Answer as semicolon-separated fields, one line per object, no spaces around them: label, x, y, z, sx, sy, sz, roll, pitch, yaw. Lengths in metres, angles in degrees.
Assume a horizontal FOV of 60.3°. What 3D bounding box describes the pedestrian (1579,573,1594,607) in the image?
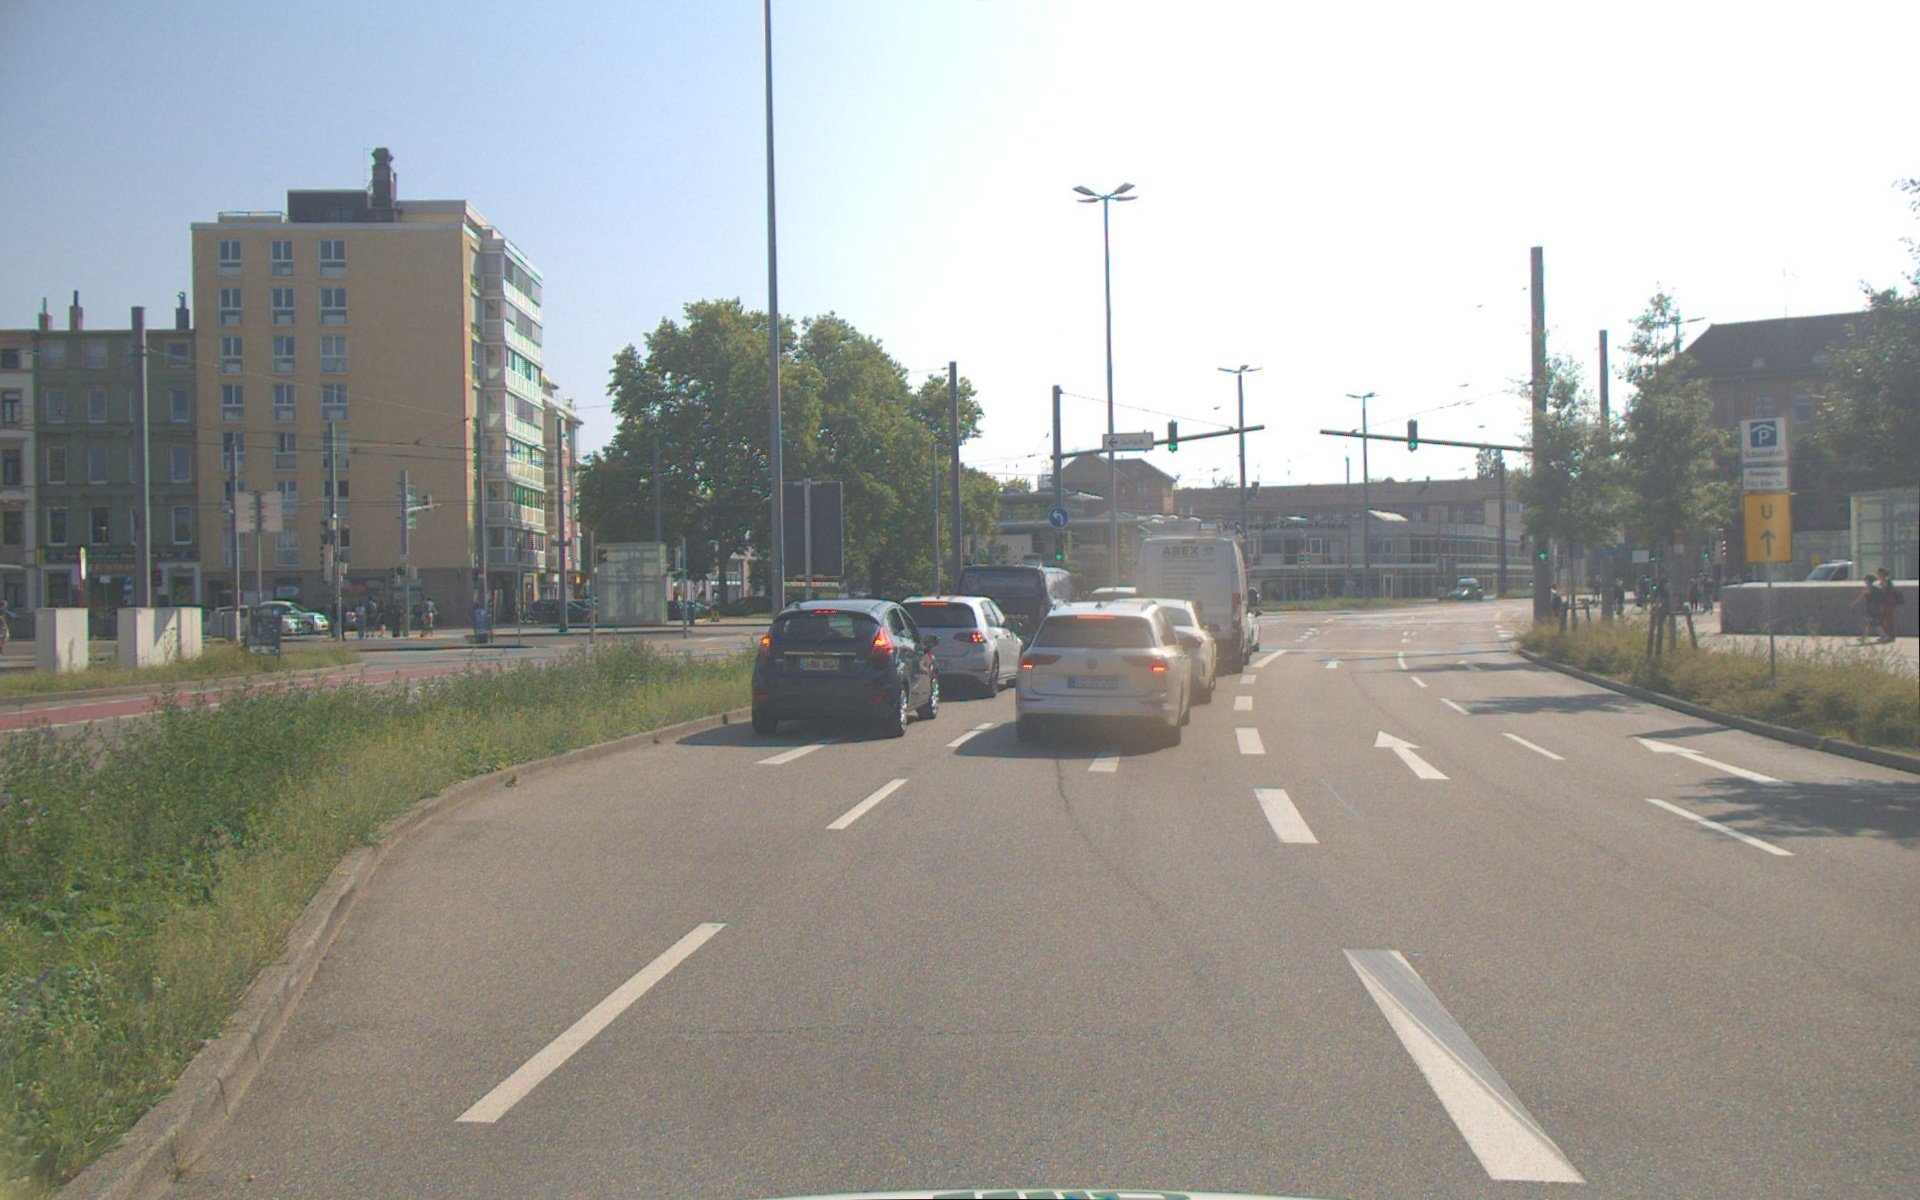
pedestrian;37.918;-0.601;100.094;0.731;2.049;0.806;-1;0;24

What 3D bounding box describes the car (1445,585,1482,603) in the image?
car;43.170;-0.505;141.745;1.959;1.467;3.986;-1;0;35

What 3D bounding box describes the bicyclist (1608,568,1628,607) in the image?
bicyclist;26.997;-0.508;67.875;0.698;1.556;0.806;-1;0;24

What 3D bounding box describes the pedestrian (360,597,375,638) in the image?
pedestrian;-25.576;0.752;71.351;0.452;1.714;0.434;-3;3;-41

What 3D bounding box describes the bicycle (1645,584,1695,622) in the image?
bicycle;19.306;0.077;45.005;0.755;0.993;2.152;0;0;9

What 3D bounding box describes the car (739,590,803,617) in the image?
car;-12.288;0.208;107.796;3.904;1.646;1.813;-1;0;1

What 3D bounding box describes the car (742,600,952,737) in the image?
car;-1.184;0.709;19.040;1.665;1.392;3.967;0;0;7

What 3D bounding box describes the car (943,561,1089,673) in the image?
car;1.191;0.300;32.585;1.980;2.043;4.687;0;0;13

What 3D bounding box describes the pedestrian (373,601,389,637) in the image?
pedestrian;-25.142;0.824;71.768;0.494;1.513;0.434;-3;3;-41

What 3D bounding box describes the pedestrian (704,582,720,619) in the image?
pedestrian;-14.032;0.041;93.589;0.805;2.049;0.509;-1;0;0

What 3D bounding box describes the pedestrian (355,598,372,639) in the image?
pedestrian;-25.400;0.775;70.458;0.445;1.714;0.548;0;2;9

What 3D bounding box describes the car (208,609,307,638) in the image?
car;-31.313;1.033;73.754;3.750;1.200;1.576;-1;-2;0

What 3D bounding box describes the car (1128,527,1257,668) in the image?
car;4.705;-0.031;32.909;2.142;2.594;4.687;0;0;13

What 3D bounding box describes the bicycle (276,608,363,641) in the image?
bicycle;-32.877;1.246;84.972;3.909;1.578;1.195;-1;3;-5

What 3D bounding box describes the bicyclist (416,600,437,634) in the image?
bicyclist;-23.015;0.725;71.368;0.712;1.459;0.689;-1;0;-7

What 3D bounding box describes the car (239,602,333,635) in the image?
car;-31.270;0.850;76.783;3.662;1.417;1.586;-1;0;-3

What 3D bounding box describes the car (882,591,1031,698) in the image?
car;0.022;0.618;24.980;1.457;1.440;3.651;-1;1;13

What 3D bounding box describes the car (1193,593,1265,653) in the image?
car;6.786;0.537;41.487;1.602;1.428;3.690;0;0;12

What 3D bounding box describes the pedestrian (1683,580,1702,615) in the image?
pedestrian;32.575;-0.120;73.568;0.731;1.556;0.806;-1;0;24

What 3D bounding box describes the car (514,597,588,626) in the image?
car;-24.409;0.687;98.812;3.907;1.584;1.869;-1;3;-2

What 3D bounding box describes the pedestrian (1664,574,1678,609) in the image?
pedestrian;41.624;-0.498;96.784;0.731;2.049;0.806;-1;0;24

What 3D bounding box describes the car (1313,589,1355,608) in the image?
car;30.048;-0.117;132.834;1.959;1.467;3.988;-1;0;34

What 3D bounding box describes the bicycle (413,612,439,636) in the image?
bicycle;-23.003;1.041;71.309;0.713;1.001;1.729;-1;0;-7

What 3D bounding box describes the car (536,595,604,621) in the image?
car;-24.941;0.488;105.916;3.908;1.585;1.868;-1;0;-4

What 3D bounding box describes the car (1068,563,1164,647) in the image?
car;4.115;0.123;43.003;1.980;2.043;4.688;0;0;11

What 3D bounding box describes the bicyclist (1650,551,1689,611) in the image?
bicyclist;19.298;-0.501;45.019;0.755;1.606;0.991;0;0;9

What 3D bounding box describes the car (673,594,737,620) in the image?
car;-16.447;0.443;106.686;3.908;1.585;1.727;-1;0;-4

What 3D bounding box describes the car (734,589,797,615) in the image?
car;-12.869;0.117;109.629;3.904;1.646;1.813;-1;0;1

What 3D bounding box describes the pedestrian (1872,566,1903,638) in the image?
pedestrian;21.652;0.045;38.635;0.603;1.657;0.533;-1;0;29

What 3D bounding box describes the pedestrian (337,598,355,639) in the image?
pedestrian;-25.956;0.780;69.913;0.445;1.714;0.547;0;3;22

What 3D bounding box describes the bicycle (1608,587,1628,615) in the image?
bicycle;27.010;0.037;67.873;0.692;1.080;1.981;-1;0;24

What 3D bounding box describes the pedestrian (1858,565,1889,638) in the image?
pedestrian;21.133;0.036;38.257;0.603;1.667;0.533;-1;0;31

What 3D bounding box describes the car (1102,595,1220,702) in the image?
car;3.015;0.663;24.256;1.457;1.427;3.945;0;0;11

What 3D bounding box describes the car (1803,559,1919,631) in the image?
car;28.073;-0.169;50.479;3.913;2.048;1.751;-1;3;-9

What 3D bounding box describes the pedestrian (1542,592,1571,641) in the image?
pedestrian;16.835;0.463;46.677;0.622;1.386;0.634;-1;0;7

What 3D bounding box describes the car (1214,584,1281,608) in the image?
car;17.459;-0.237;100.566;3.882;1.366;1.931;-1;0;5

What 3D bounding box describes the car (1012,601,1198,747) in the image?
car;1.663;0.730;17.939;1.649;1.412;3.637;0;0;11
